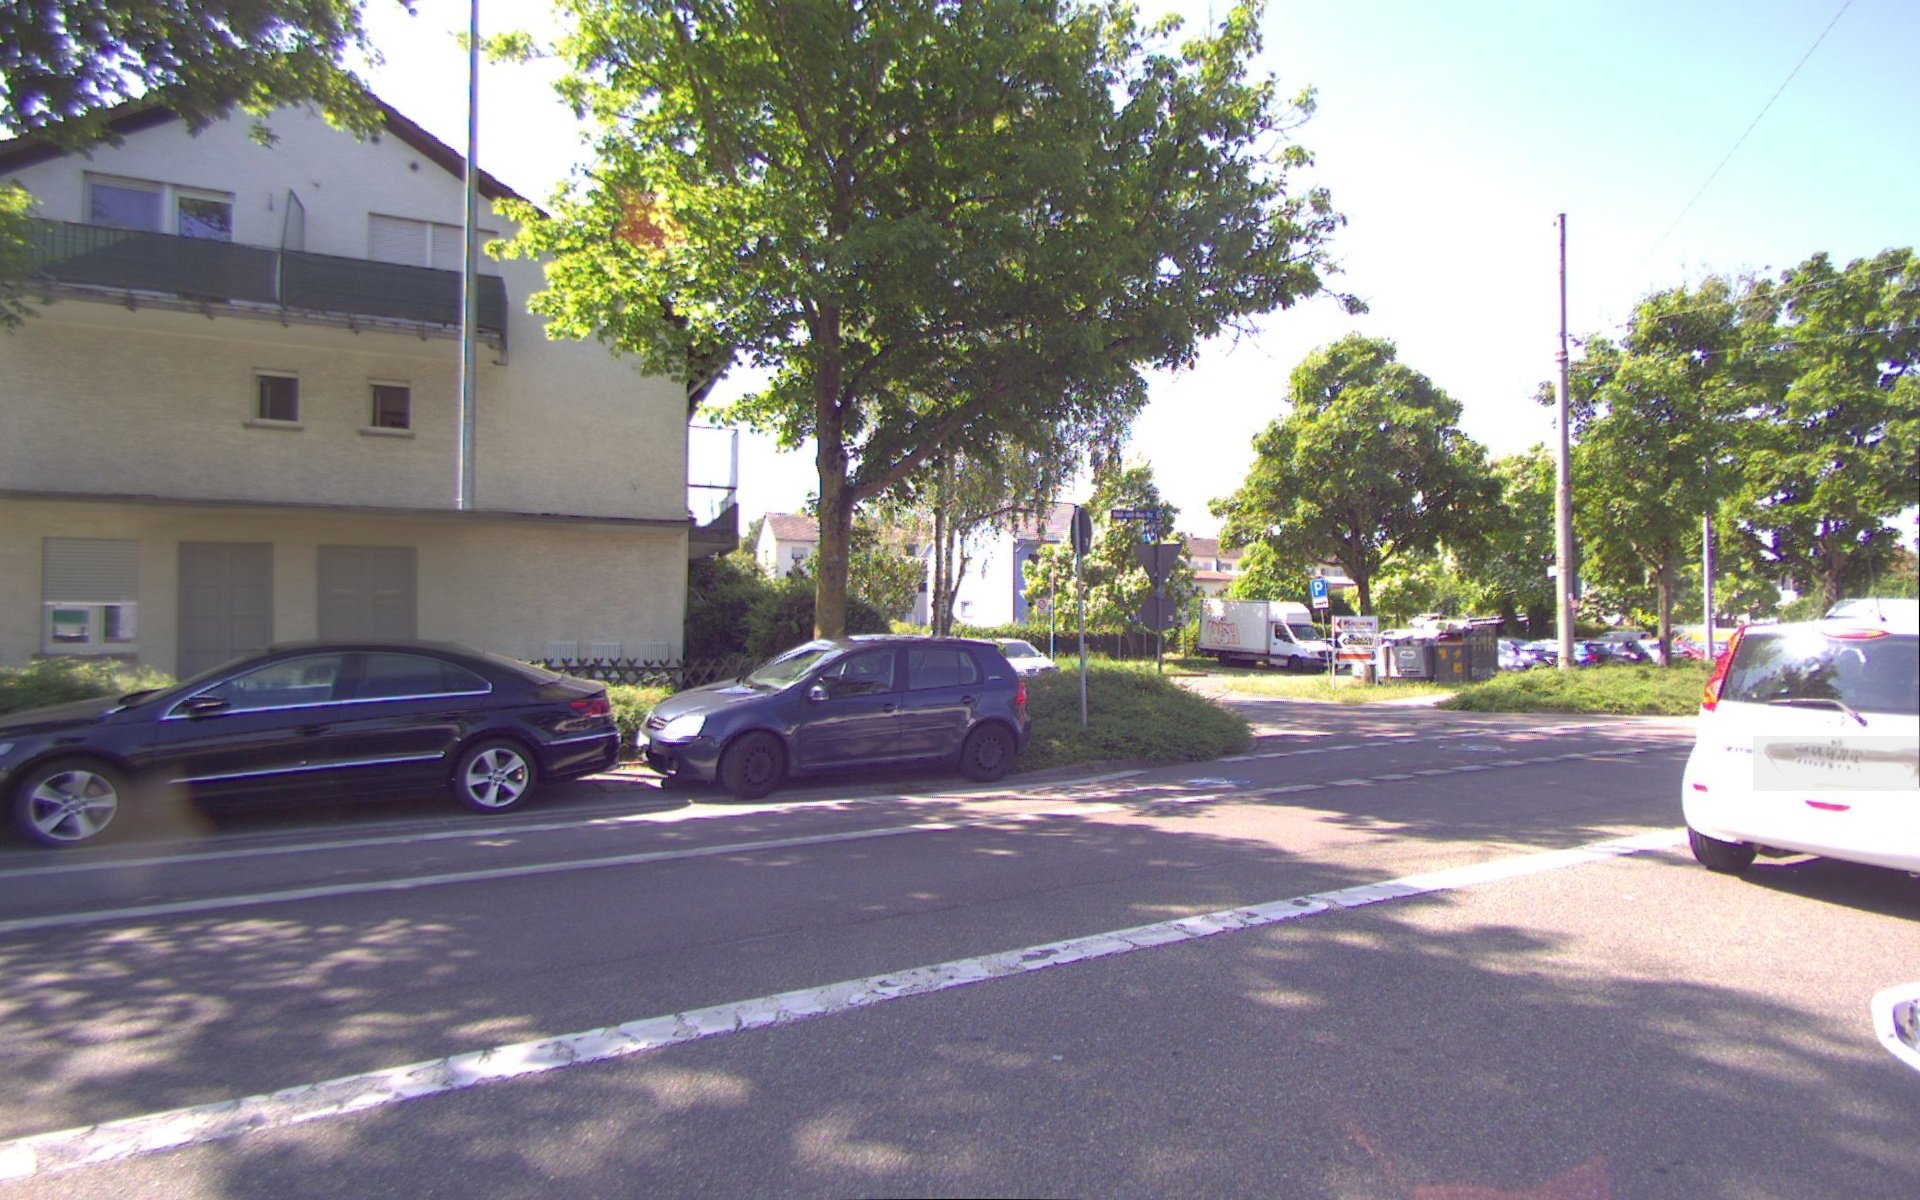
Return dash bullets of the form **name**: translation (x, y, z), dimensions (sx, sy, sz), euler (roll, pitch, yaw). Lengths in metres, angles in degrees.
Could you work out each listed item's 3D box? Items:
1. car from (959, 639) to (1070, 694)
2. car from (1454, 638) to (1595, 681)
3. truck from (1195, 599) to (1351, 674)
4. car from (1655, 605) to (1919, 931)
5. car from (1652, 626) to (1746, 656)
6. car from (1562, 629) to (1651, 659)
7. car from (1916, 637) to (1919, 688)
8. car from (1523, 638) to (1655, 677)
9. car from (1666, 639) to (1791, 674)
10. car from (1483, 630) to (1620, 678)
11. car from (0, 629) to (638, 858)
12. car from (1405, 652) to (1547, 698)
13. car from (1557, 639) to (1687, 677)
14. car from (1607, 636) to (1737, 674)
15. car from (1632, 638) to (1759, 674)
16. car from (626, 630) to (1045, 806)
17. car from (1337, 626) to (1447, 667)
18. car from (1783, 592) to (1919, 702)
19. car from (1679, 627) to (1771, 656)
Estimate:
- **car**: translation (1.458, 1.856, 28.325), dimensions (1.704, 1.434, 3.983), euler (1, -3, -20)
- **car**: translation (19.642, 2.073, 35.083), dimensions (1.712, 1.434, 3.964), euler (2, -4, -33)
- **truck**: translation (14.419, 1.594, 46.837), dimensions (2.646, 3.151, 6.967), euler (1, 0, -30)
- **car**: translation (6.415, 0.854, 6.251), dimensions (4.491, 1.568, 1.655), euler (1, -1, -29)
- **car**: translation (50.480, 2.773, 68.671), dimensions (2.043, 1.811, 4.762), euler (2, 0, -34)
- **car**: translation (44.520, 2.990, 69.296), dimensions (2.043, 1.811, 4.762), euler (2, 0, -34)
- **car**: translation (29.348, 1.820, 28.715), dimensions (4.230, 1.434, 1.854), euler (1, 0, -31)
- **car**: translation (24.162, 2.214, 38.731), dimensions (1.712, 1.434, 3.964), euler (2, -4, -33)
- **car**: translation (33.166, 2.447, 43.453), dimensions (1.712, 1.434, 3.964), euler (2, -4, -33)
- **car**: translation (21.418, 1.972, 36.506), dimensions (1.712, 1.631, 3.964), euler (2, -4, -33)
- **car**: translation (-5.223, 1.003, 8.350), dimensions (4.568, 1.434, 1.854), euler (1, 0, -31)
- **car**: translation (17.326, 2.490, 33.898), dimensions (1.712, 1.434, 3.964), euler (2, -4, -33)
- **car**: translation (26.354, 2.329, 40.095), dimensions (1.712, 1.434, 3.964), euler (2, -4, -33)
- **car**: translation (28.833, 2.244, 40.782), dimensions (1.712, 1.434, 3.964), euler (2, -4, -33)
- **car**: translation (30.744, 2.335, 42.083), dimensions (1.712, 1.434, 3.964), euler (2, -4, -33)
- **car**: translation (-1.262, 1.094, 10.468), dimensions (3.988, 1.462, 1.718), euler (1, 0, -28)
- **car**: translation (21.718, 2.326, 50.724), dimensions (2.043, 1.811, 4.762), euler (2, 0, -34)
- **car**: translation (23.797, 1.142, 25.774), dimensions (5.745, 2.550, 2.114), euler (1, 0, -29)
- **car**: translation (54.426, 2.907, 71.545), dimensions (2.043, 1.811, 4.762), euler (2, 0, -34)
